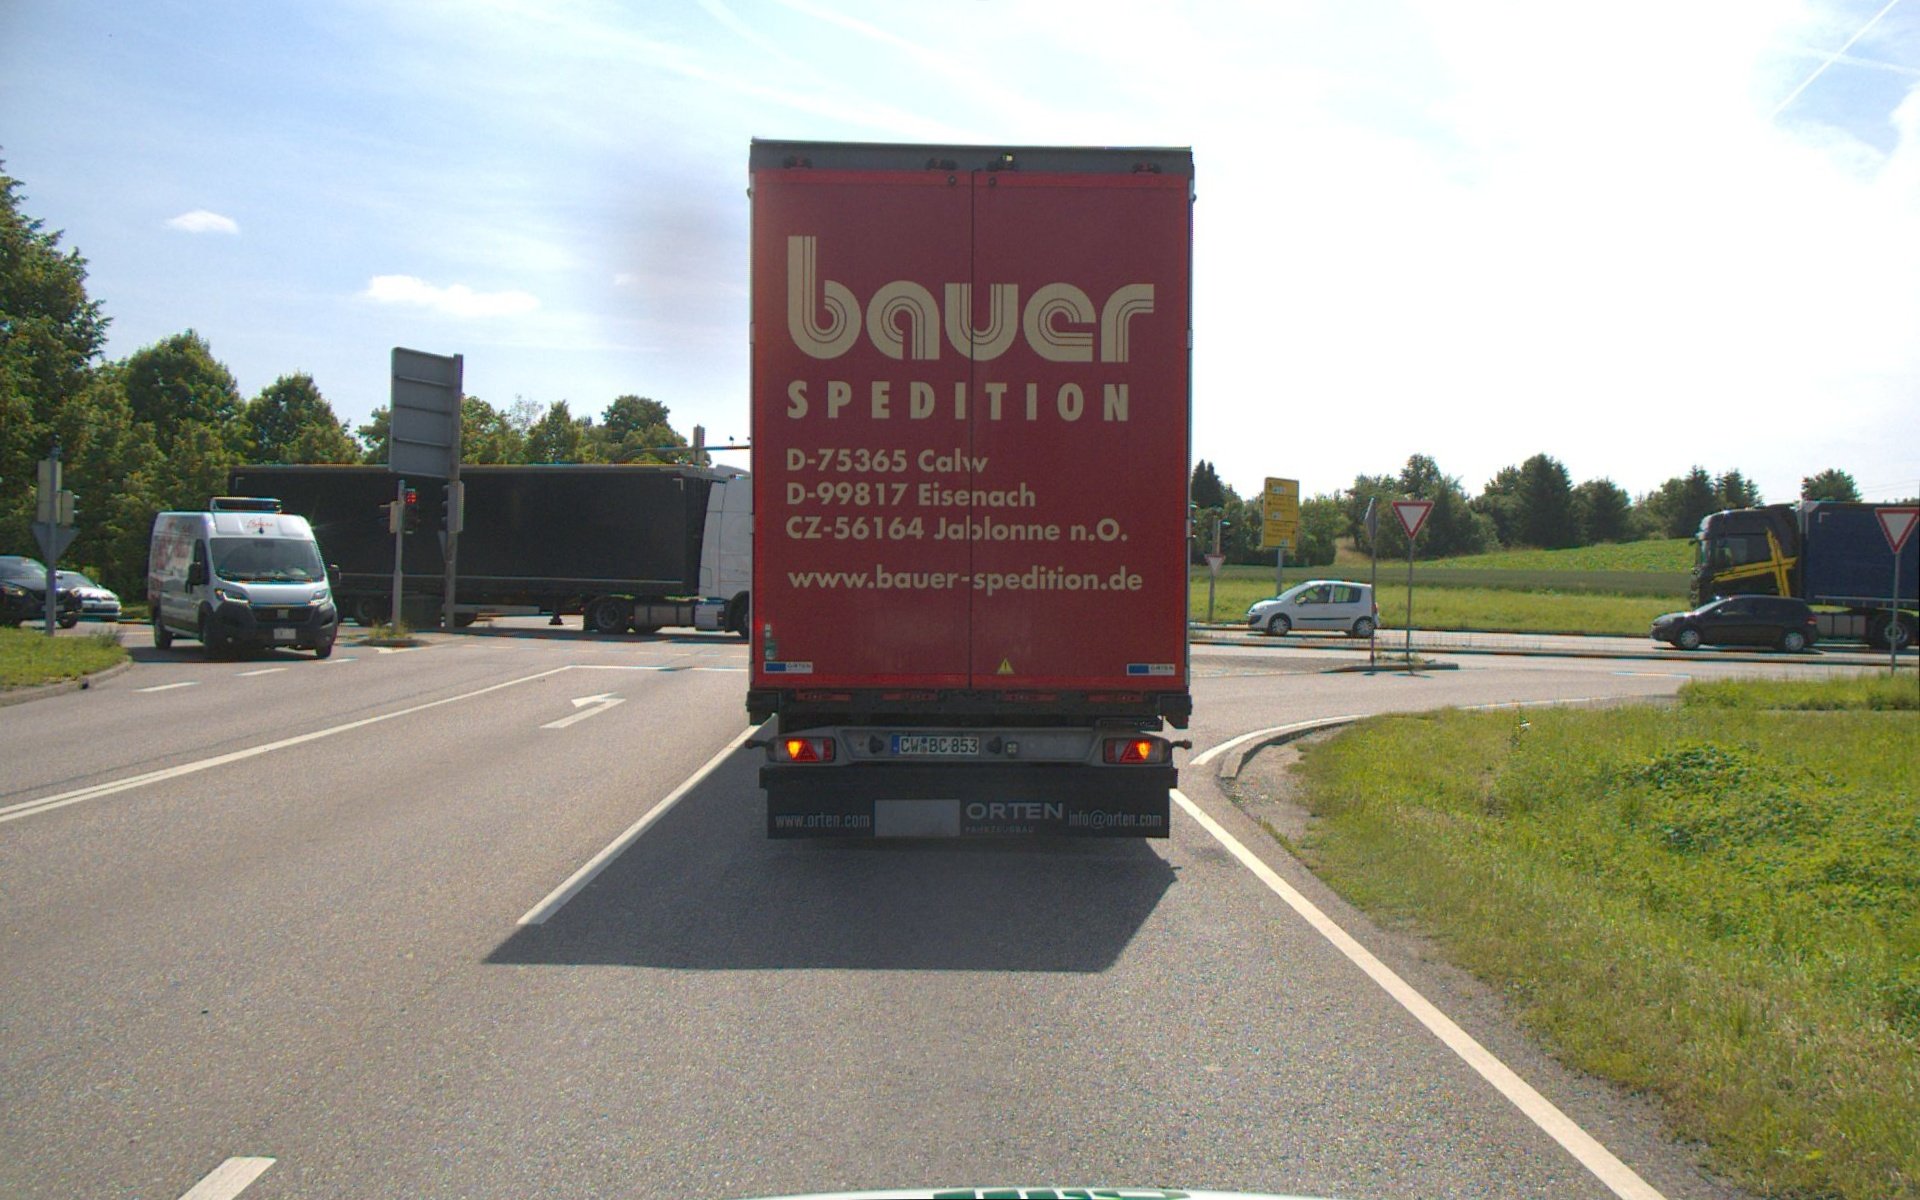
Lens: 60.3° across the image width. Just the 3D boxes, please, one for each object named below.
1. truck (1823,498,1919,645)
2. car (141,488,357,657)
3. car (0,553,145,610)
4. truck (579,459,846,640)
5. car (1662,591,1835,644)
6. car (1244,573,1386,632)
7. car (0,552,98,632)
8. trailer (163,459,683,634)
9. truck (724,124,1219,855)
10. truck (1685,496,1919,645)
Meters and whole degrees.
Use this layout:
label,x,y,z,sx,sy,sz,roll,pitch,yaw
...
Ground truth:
label,x,y,z,sx,sy,sz,roll,pitch,yaw
truck,31.646,-0.674,45.174,13.990,4.049,3.027,2,1,22
car,-12.748,-0.464,29.401,2.103,2.701,5.904,1,0,-38
car,-25.293,-0.531,46.510,4.157,1.486,1.811,2,1,18
truck,-5.940,-1.242,40.027,5.702,4.132,2.801,1,1,13
car,20.987,0.459,44.179,3.902,1.333,1.767,1,-1,16
car,10.257,0.082,47.993,3.748,1.662,1.761,1,-1,0
car,-22.214,-0.179,39.047,4.033,1.780,1.863,1,-1,40
trailer,-13.841,-1.458,42.324,13.396,4.132,2.800,1,1,17
truck,-0.057,-0.706,17.434,2.679,3.993,16.623,1,1,-1
truck,24.810,-0.872,47.736,6.786,4.063,3.029,1,1,19
